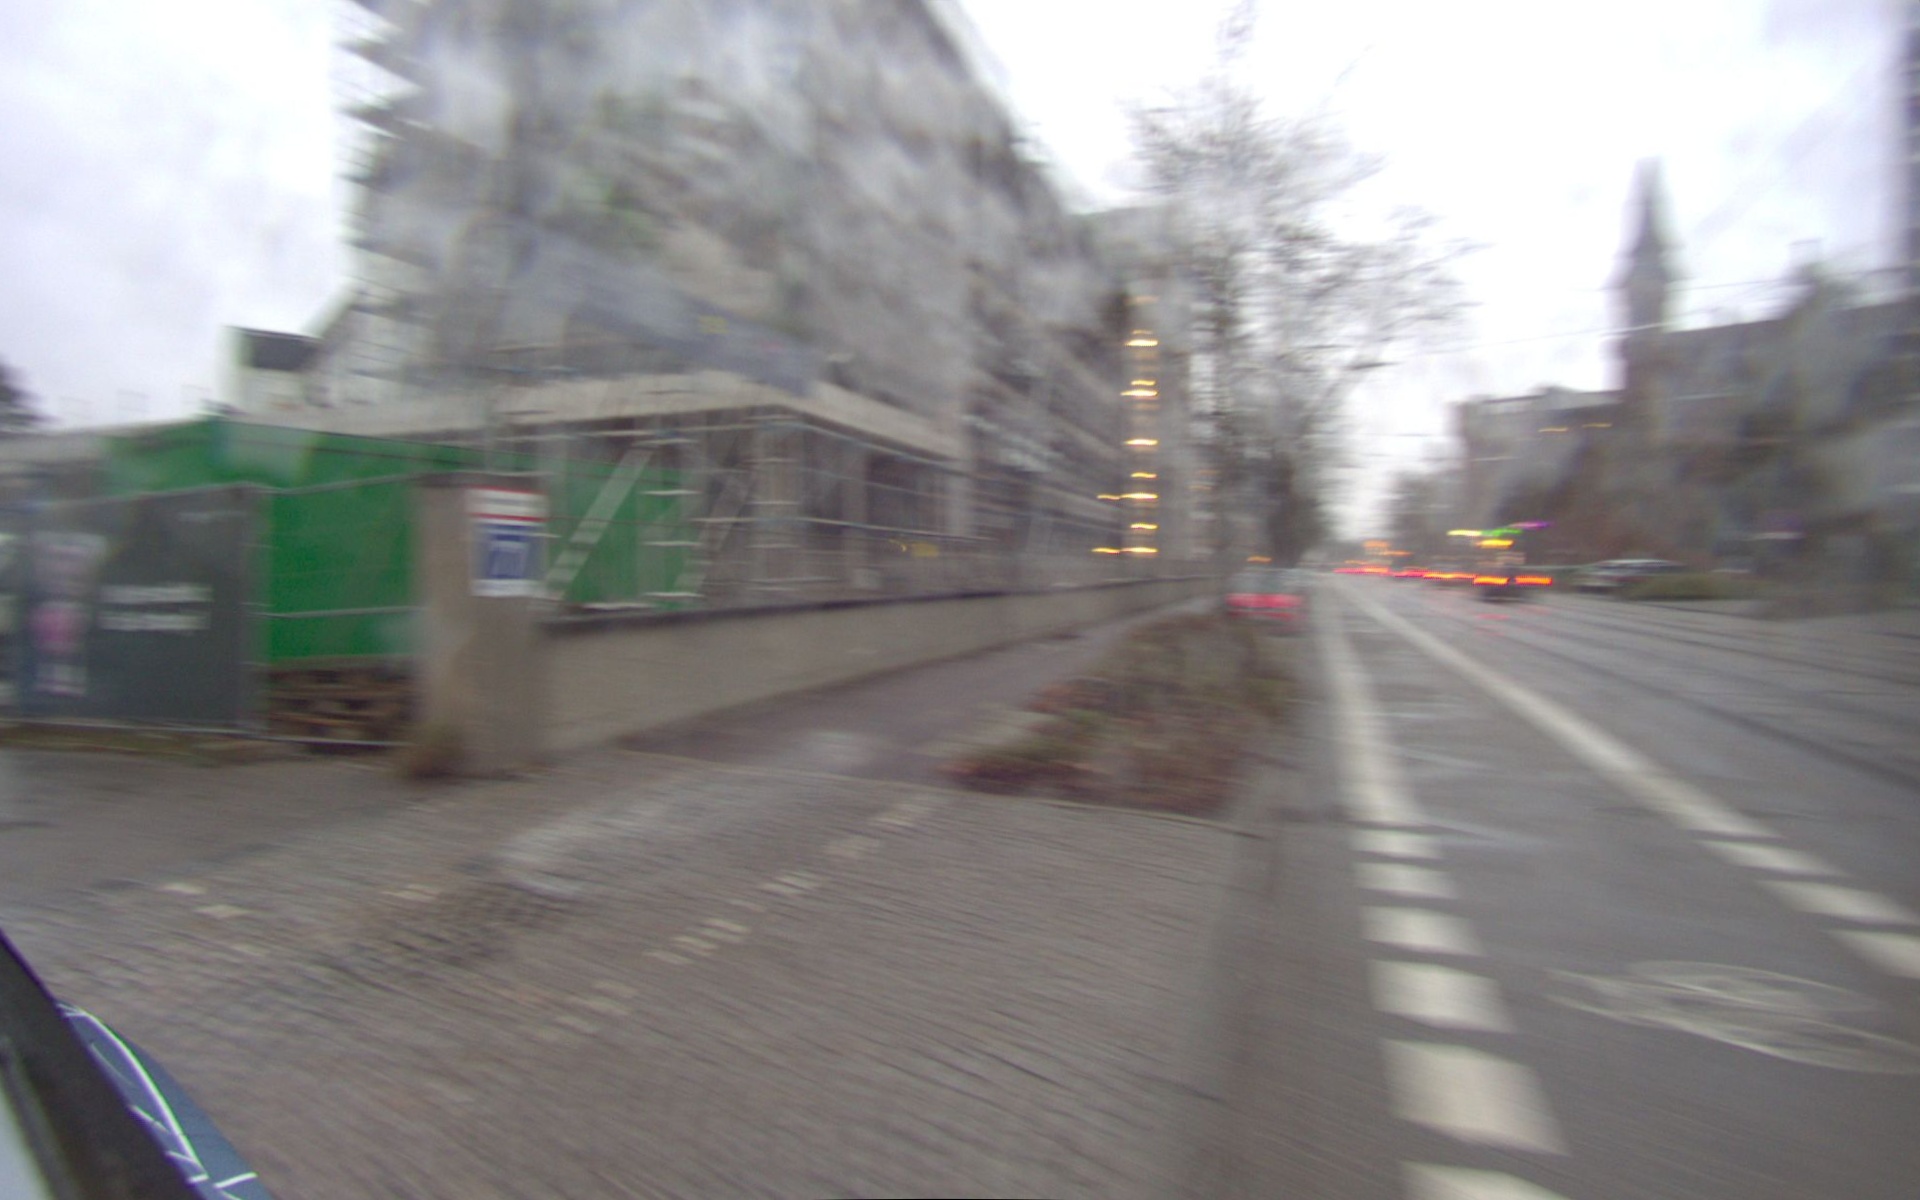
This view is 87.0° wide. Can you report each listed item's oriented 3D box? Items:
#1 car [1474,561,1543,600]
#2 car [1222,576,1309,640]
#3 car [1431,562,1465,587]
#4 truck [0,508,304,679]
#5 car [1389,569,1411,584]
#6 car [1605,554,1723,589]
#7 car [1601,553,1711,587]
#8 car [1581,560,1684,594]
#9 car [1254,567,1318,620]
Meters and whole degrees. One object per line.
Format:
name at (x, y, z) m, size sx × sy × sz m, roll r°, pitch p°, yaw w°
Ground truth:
car at (22.876, -0.830, 42.364) m, size 1.738 × 1.556 × 4.271 m, roll 0°, pitch 1°, yaw 17°
car at (7.389, 0.132, 24.272) m, size 1.742 × 1.397 × 3.710 m, roll 0°, pitch 1°, yaw 21°
car at (31.801, -1.639, 66.056) m, size 1.701 × 1.590 × 4.347 m, roll 1°, pitch 1°, yaw 22°
truck at (-15.301, -0.206, 17.619) m, size 2.110 × 2.607 × 7.055 m, roll 0°, pitch 3°, yaw 12°
car at (44.231, -2.344, 101.857) m, size 1.754 × 1.421 × 3.974 m, roll 0°, pitch 1°, yaw 20°
car at (30.672, -1.232, 44.237) m, size 3.978 × 1.497 × 1.657 m, roll 1°, pitch 1°, yaw 26°
car at (32.546, -1.396, 47.460) m, size 3.978 × 1.497 × 1.657 m, roll 1°, pitch 1°, yaw 26°
car at (33.386, -1.136, 50.350) m, size 3.978 × 1.652 × 1.983 m, roll 1°, pitch 1°, yaw 26°
car at (10.513, -0.255, 32.507) m, size 1.742 × 1.596 × 3.710 m, roll 0°, pitch 1°, yaw 21°
